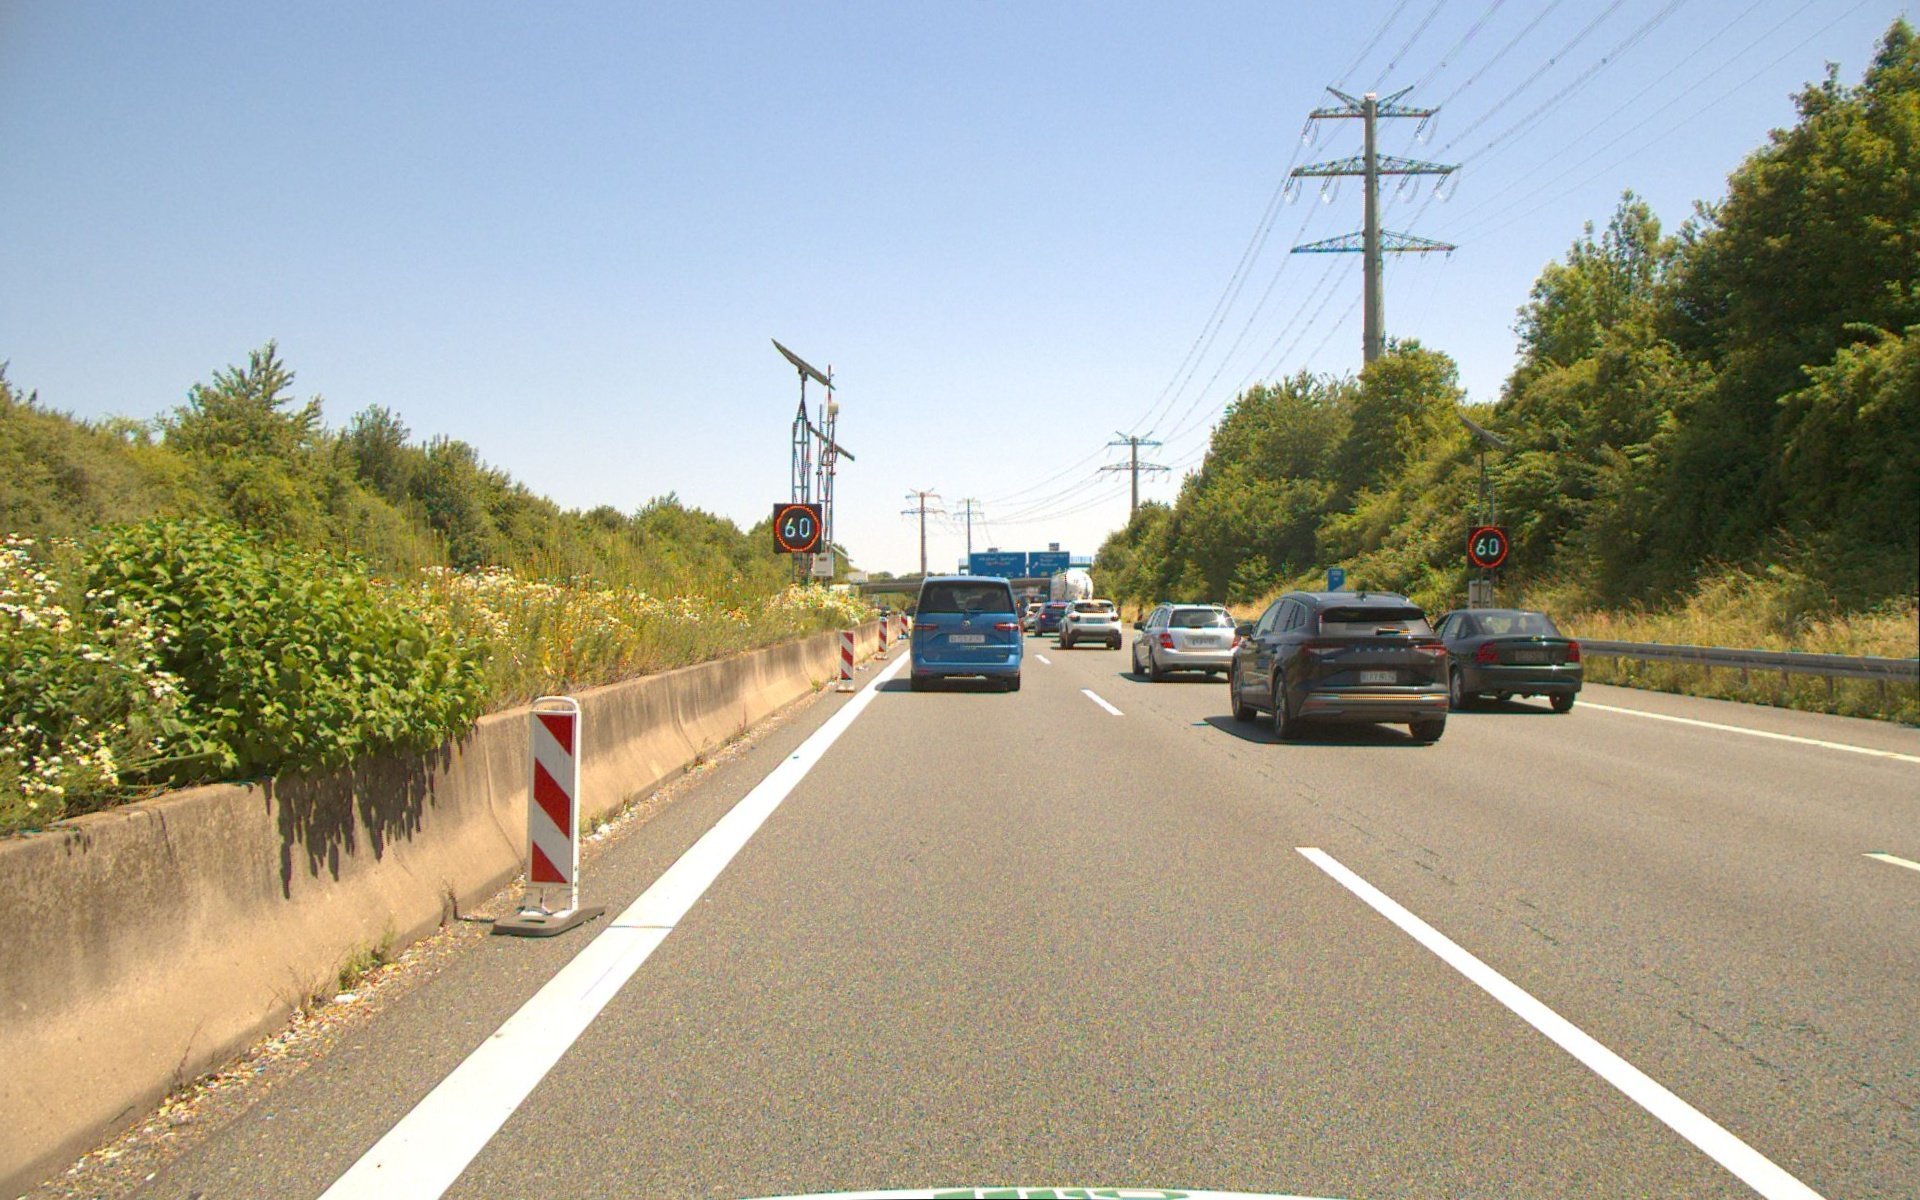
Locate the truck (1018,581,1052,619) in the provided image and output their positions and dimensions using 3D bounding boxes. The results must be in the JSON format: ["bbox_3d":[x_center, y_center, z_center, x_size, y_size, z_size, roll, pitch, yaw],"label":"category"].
[{"bbox_3d":[7.494,-0.021,166.994,2.591,3.600,12.548,1,0,-1],"label":"truck"}]

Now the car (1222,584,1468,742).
[{"bbox_3d":[4.372,0.649,19.474,1.791,1.642,4.430,0,0,-1],"label":"car"}]

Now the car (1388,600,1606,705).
[{"bbox_3d":[7.819,0.712,24.506,1.699,1.402,4.300,1,0,-2],"label":"car"}]

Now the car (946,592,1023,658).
[{"bbox_3d":[0.600,0.631,43.935,1.870,1.659,4.382,0,0,-1],"label":"car"}]

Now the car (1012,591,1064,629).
[{"bbox_3d":[3.330,0.429,71.084,1.870,1.542,4.382,1,0,-2],"label":"car"}]

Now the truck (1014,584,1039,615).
[{"bbox_3d":[9.669,-0.125,241.209,2.878,4.366,12.548,1,0,-1],"label":"truck"}]

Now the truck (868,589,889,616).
[{"bbox_3d":[-12.194,0.352,248.138,2.706,3.956,9.028,-2,0,-1],"label":"truck"}]

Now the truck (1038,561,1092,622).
[{"bbox_3d":[7.699,-0.592,123.253,2.591,4.143,16.437,1,0,-1],"label":"truck"}]

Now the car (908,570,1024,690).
[{"bbox_3d":[0.028,0.491,29.005,1.833,1.912,4.381,1,0,-2],"label":"car"}]

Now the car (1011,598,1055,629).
[{"bbox_3d":[3.696,0.674,84.157,1.870,1.542,4.382,1,0,-2],"label":"car"}]

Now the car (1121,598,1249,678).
[{"bbox_3d":[4.358,0.699,32.676,1.784,1.462,4.382,1,0,-2],"label":"car"}]

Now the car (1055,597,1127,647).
[{"bbox_3d":[4.167,0.683,53.068,1.870,1.534,3.920,1,0,-2],"label":"car"}]

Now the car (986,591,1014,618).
[{"bbox_3d":[3.084,0.373,128.401,1.953,2.049,3.999,1,0,-1],"label":"car"}]

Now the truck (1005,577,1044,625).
[{"bbox_3d":[3.827,0.077,98.826,1.953,2.771,5.678,1,0,-1],"label":"truck"}]
